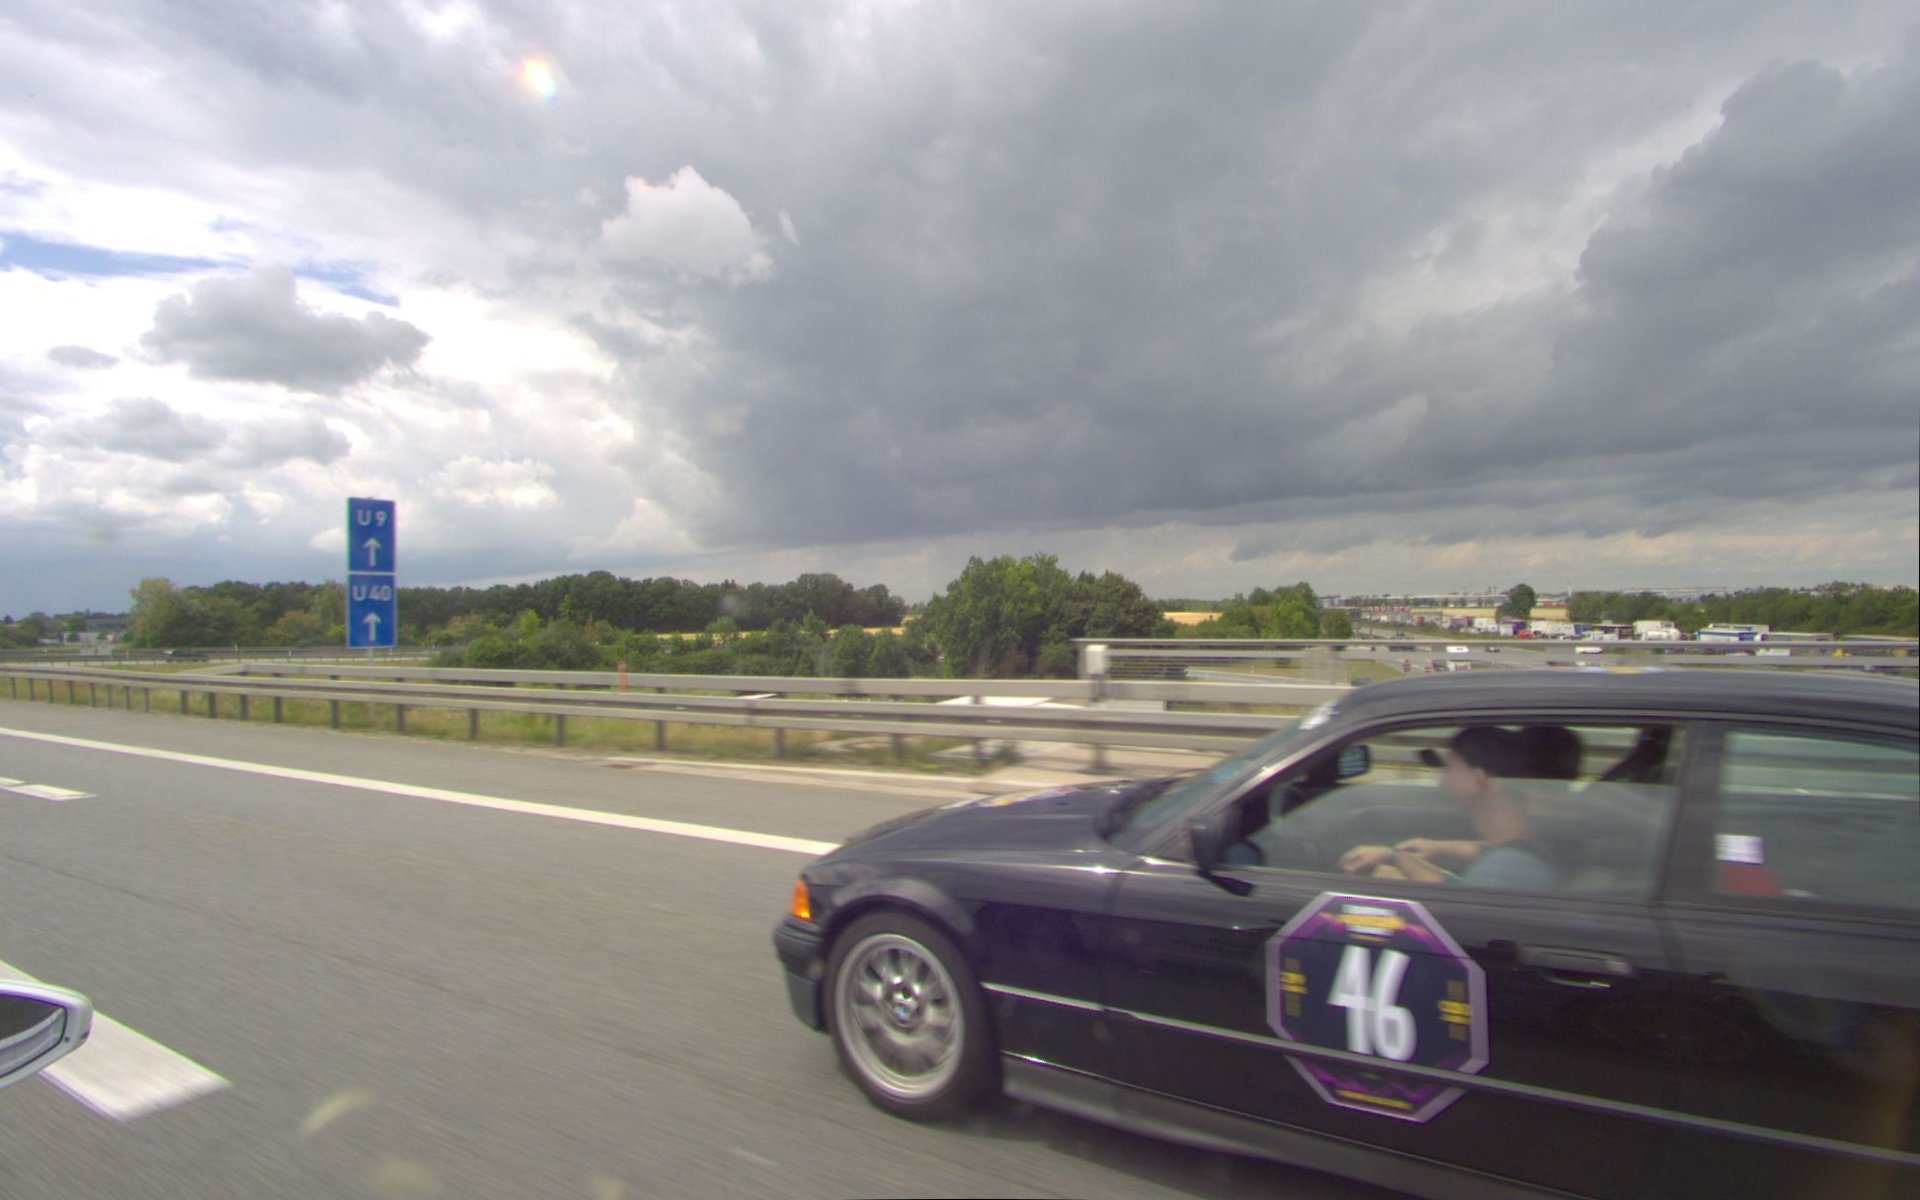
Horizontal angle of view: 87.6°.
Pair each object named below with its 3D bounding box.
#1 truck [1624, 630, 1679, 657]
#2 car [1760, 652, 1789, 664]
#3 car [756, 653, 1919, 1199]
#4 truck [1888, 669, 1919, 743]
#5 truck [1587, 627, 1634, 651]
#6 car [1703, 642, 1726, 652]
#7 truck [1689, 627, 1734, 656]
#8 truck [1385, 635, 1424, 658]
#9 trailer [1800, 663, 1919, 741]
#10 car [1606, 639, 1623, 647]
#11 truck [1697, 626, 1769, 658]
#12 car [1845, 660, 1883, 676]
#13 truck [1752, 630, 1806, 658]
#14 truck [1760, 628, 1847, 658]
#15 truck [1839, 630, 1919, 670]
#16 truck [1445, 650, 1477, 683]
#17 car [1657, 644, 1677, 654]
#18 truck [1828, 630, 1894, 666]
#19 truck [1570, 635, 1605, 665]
[{"bbox_3d":[130.931,8.194,189.929,4.012,4.882,15.339,-1,-2,16],"label":"truck"},{"bbox_3d":[107.756,7.691,132.517,1.707,1.505,3.994,-1,-2,18],"label":"car"},{"bbox_3d":[1.590,0.826,2.711,4.306,1.297,1.700,-1,-2,34],"label":"car"},{"bbox_3d":[60.122,6.506,61.047,3.077,4.341,5.605,-1,-1,18],"label":"truck"},{"bbox_3d":[137.835,8.175,212.451,4.012,4.882,15.339,-1,-2,16],"label":"truck"},{"bbox_3d":[119.800,7.462,158.992,1.707,1.505,3.995,-1,-2,17],"label":"car"},{"bbox_3d":[126.878,6.995,169.184,3.998,4.799,6.493,0,-1,15],"label":"truck"},{"bbox_3d":[85.426,8.812,192.665,3.921,4.111,19.031,-2,-2,15],"label":"truck"},{"bbox_3d":[62.455,6.706,68.159,3.076,4.341,13.933,-1,-2,18],"label":"trailer"},{"bbox_3d":[127.359,8.387,194.859,1.707,1.505,3.995,-1,-2,17],"label":"car"},{"bbox_3d":[124.921,6.702,162.193,4.011,4.882,14.475,-1,-2,16],"label":"truck"},{"bbox_3d":[102.398,7.671,113.492,1.643,1.576,3.994,-1,-1,18],"label":"car"},{"bbox_3d":[121.500,6.505,148.635,4.060,4.062,6.491,-1,-2,18],"label":"truck"},{"bbox_3d":[119.447,6.018,142.207,4.069,4.082,14.875,-1,-2,18],"label":"truck"},{"bbox_3d":[113.805,6.035,122.464,3.938,4.612,15.281,-1,-2,19],"label":"truck"},{"bbox_3d":[68.614,9.076,137.326,2.936,4.152,6.521,-1,-1,18],"label":"truck"},{"bbox_3d":[125.027,8.667,177.108,1.707,1.505,3.995,-1,-2,17],"label":"car"},{"bbox_3d":[116.318,6.214,129.406,4.001,4.555,6.488,-1,-2,20],"label":"truck"},{"bbox_3d":[81.349,6.446,129.865,2.452,3.727,5.160,-1,0,16],"label":"truck"}]
